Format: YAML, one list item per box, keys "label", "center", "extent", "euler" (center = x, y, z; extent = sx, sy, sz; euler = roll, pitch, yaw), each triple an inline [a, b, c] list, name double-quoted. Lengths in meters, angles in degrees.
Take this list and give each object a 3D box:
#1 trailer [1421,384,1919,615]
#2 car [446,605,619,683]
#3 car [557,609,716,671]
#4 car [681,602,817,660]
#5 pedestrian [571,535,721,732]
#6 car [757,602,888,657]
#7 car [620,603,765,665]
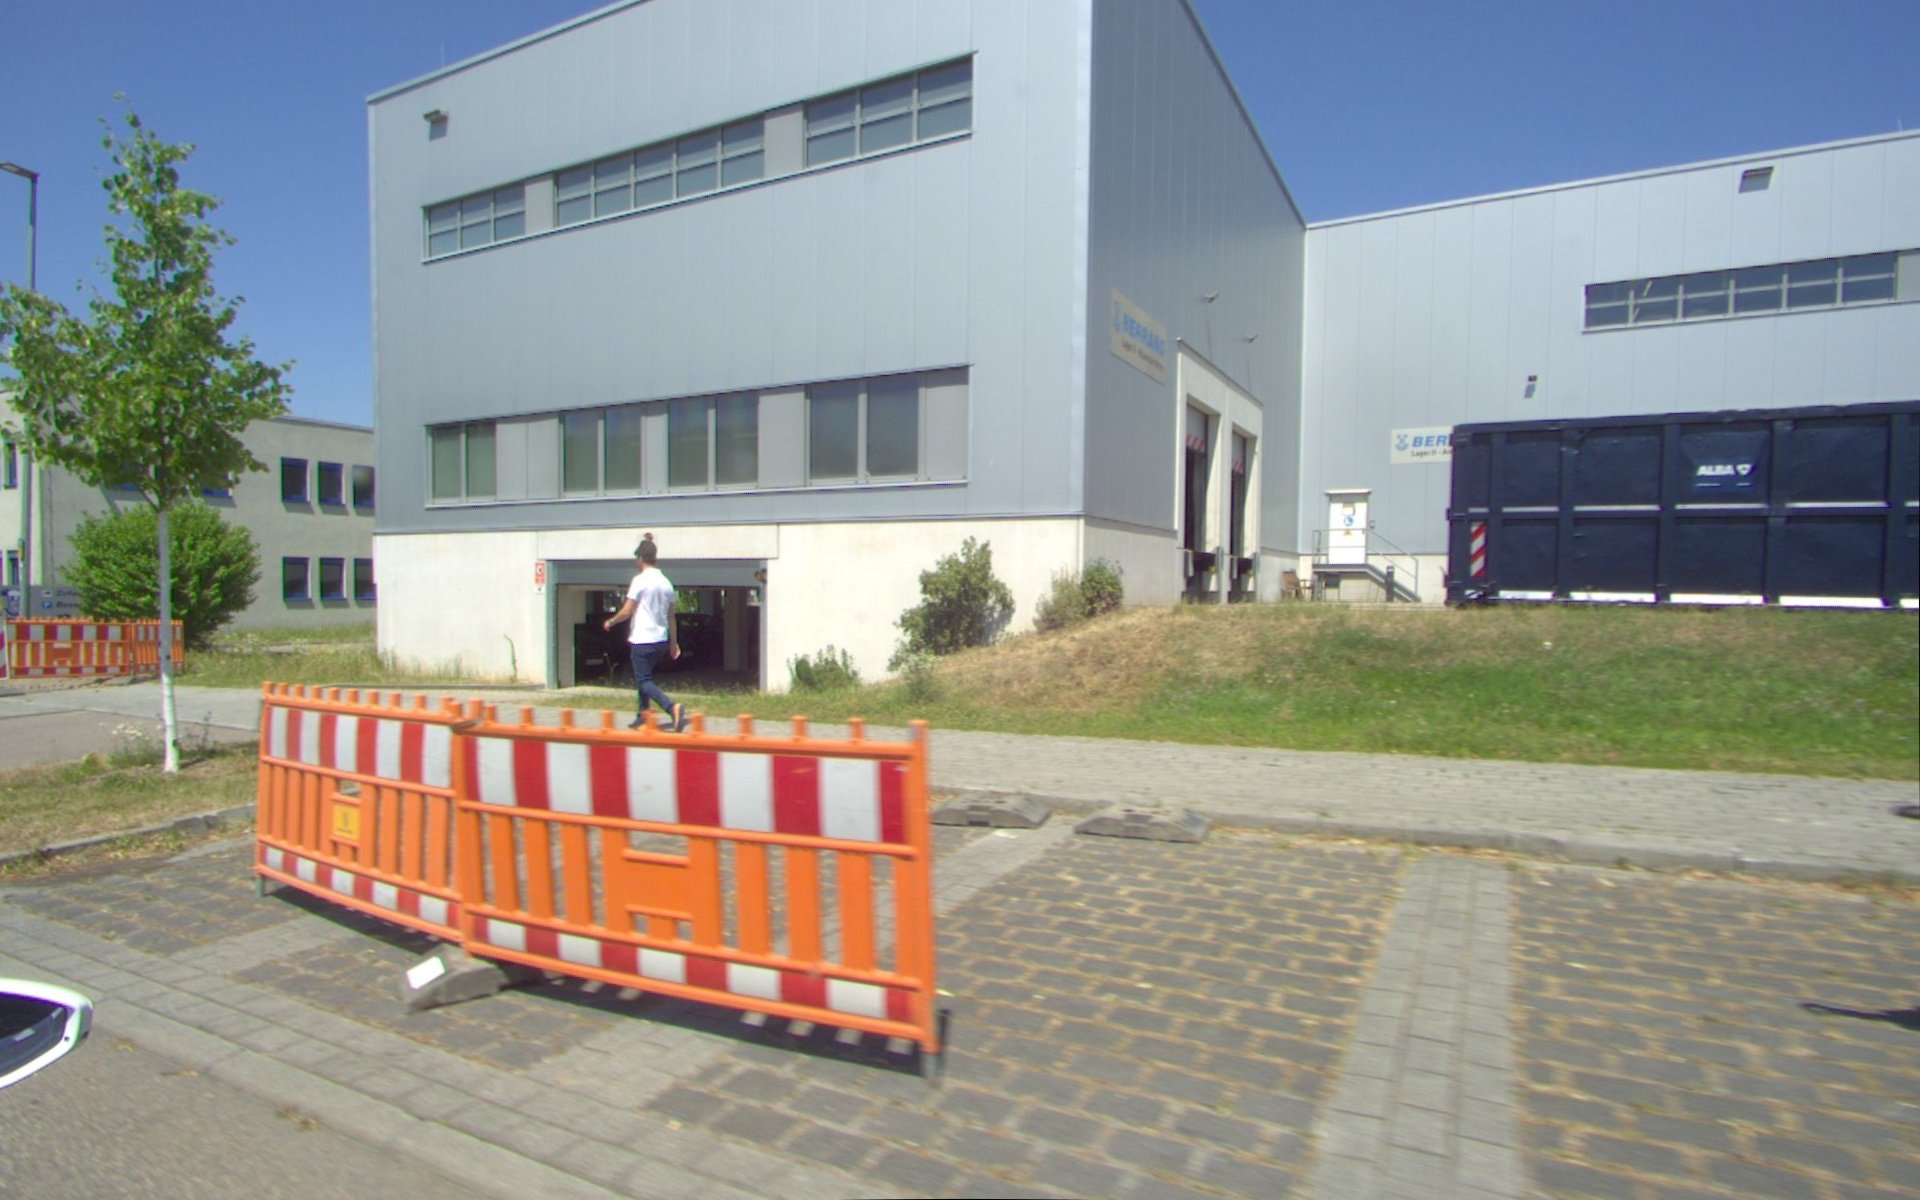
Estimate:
- label: "trailer"
  center: [10.014, -1.152, 12.615]
  extent: [7.302, 2.453, 2.655]
  euler: [3, 1, 31]
- label: "car"
  center: [-10.119, 0.975, 23.643]
  extent: [3.940, 1.473, 1.822]
  euler: [3, 3, 32]
- label: "car"
  center: [-8.494, 1.018, 26.214]
  extent: [3.942, 1.496, 1.879]
  euler: [-1, -1, 32]
- label: "car"
  center: [-6.591, 0.919, 31.175]
  extent: [3.940, 1.473, 1.878]
  euler: [3, 3, 32]
- label: "pedestrian"
  center: [-3.208, 0.322, 10.294]
  extent: [1.192, 1.914, 0.864]
  euler: [1, 1, 13]
- label: "car"
  center: [-4.529, 0.922, 32.822]
  extent: [3.940, 1.473, 1.878]
  euler: [3, 3, 32]
- label: "car"
  center: [-7.813, 0.934, 29.182]
  extent: [3.940, 1.473, 1.878]
  euler: [3, 3, 32]
